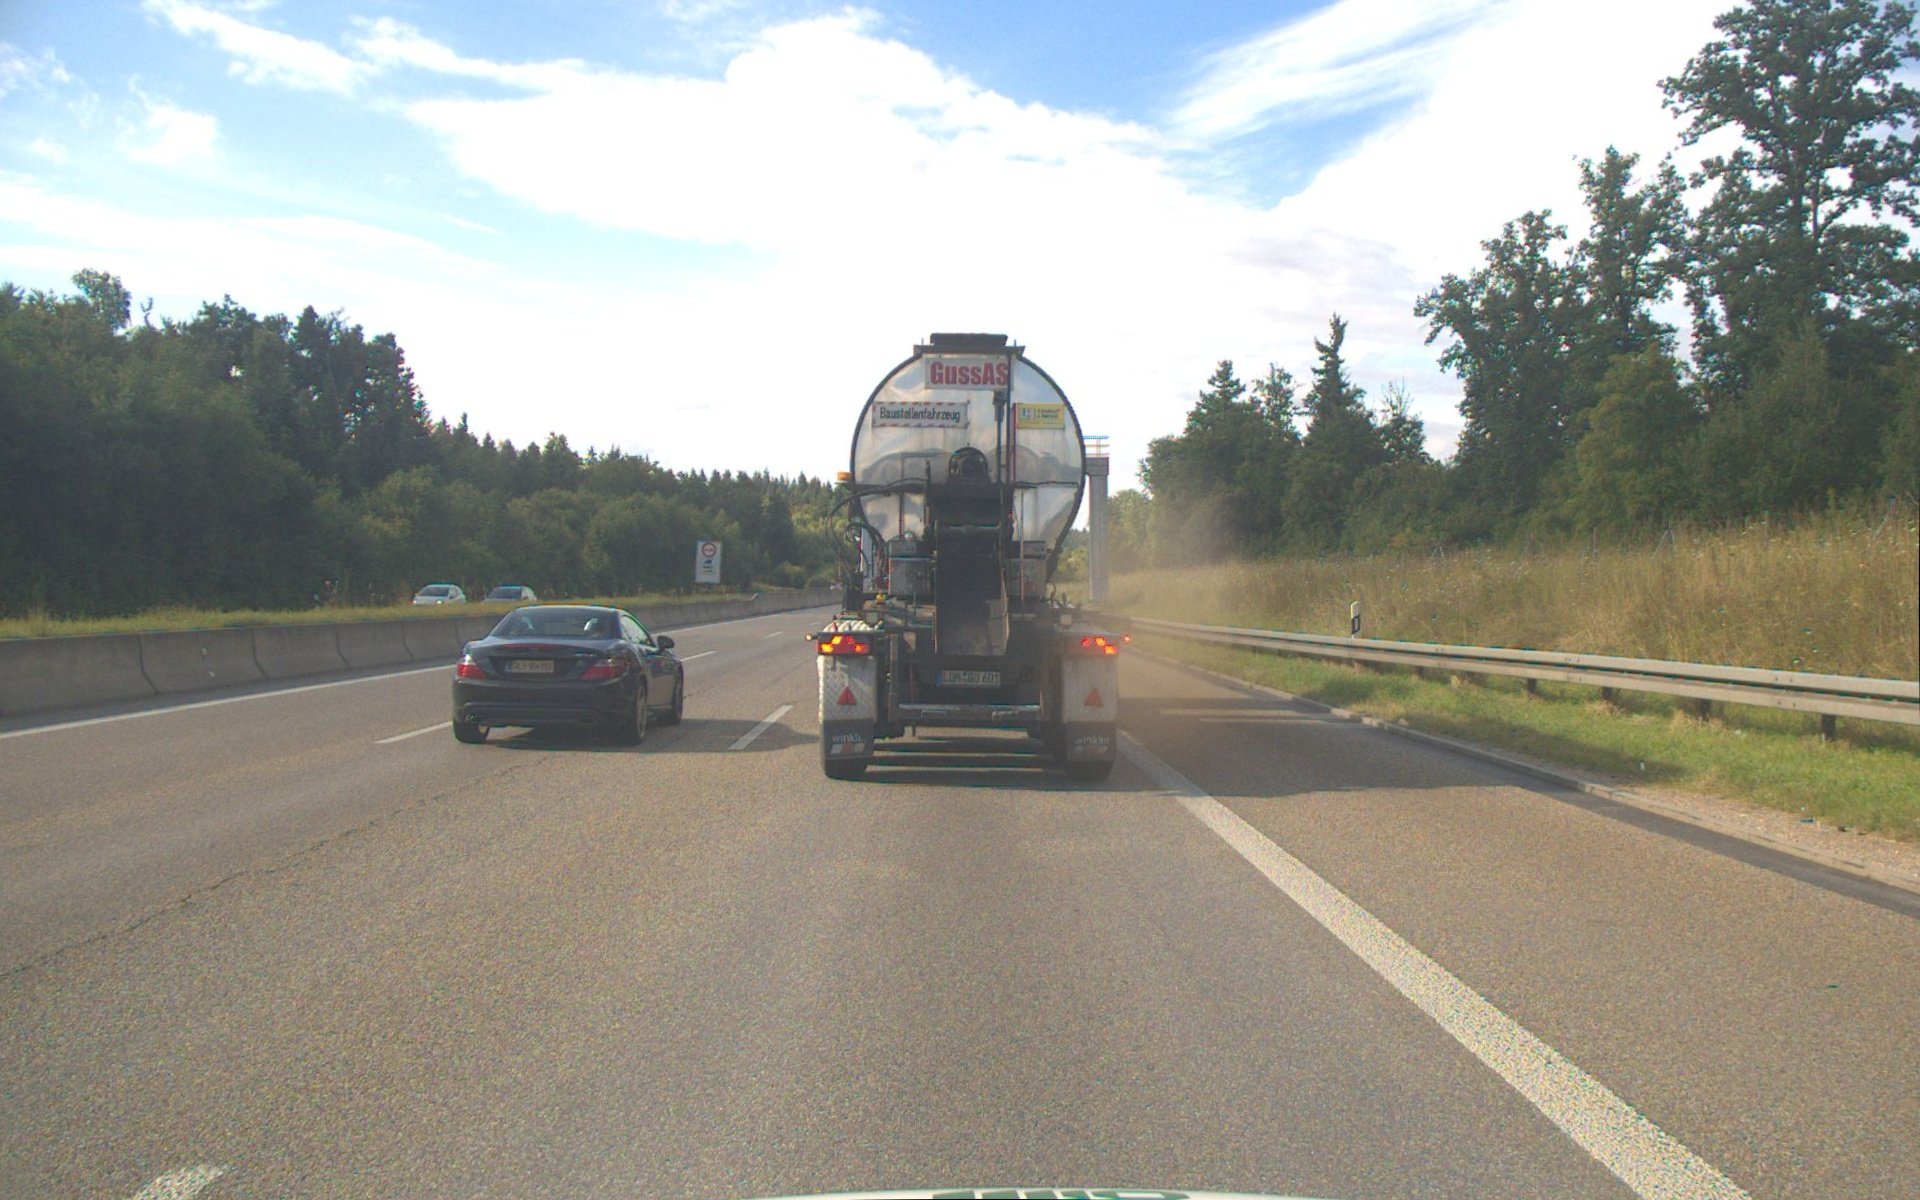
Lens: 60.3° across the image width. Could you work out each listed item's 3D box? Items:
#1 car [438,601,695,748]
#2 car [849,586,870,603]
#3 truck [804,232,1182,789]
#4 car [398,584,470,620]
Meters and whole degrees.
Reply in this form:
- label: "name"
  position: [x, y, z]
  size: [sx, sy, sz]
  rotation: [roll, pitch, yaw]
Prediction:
- label: "car"
  position: [-3.921, 0.680, 17.175]
  size: [1.709, 1.306, 4.198]
  rotation: [0, 0, -1]
- label: "car"
  position: [-9.510, -0.550, 156.672]
  size: [1.798, 1.544, 4.332]
  rotation: [0, 0, -1]
- label: "truck"
  position: [0.185, -0.713, 18.264]
  size: [2.853, 4.230, 11.268]
  rotation: [0, 0, -1]
- label: "car"
  position: [-23.922, 0.078, 75.380]
  size: [1.910, 1.566, 4.326]
  rotation: [0, 0, -1]
